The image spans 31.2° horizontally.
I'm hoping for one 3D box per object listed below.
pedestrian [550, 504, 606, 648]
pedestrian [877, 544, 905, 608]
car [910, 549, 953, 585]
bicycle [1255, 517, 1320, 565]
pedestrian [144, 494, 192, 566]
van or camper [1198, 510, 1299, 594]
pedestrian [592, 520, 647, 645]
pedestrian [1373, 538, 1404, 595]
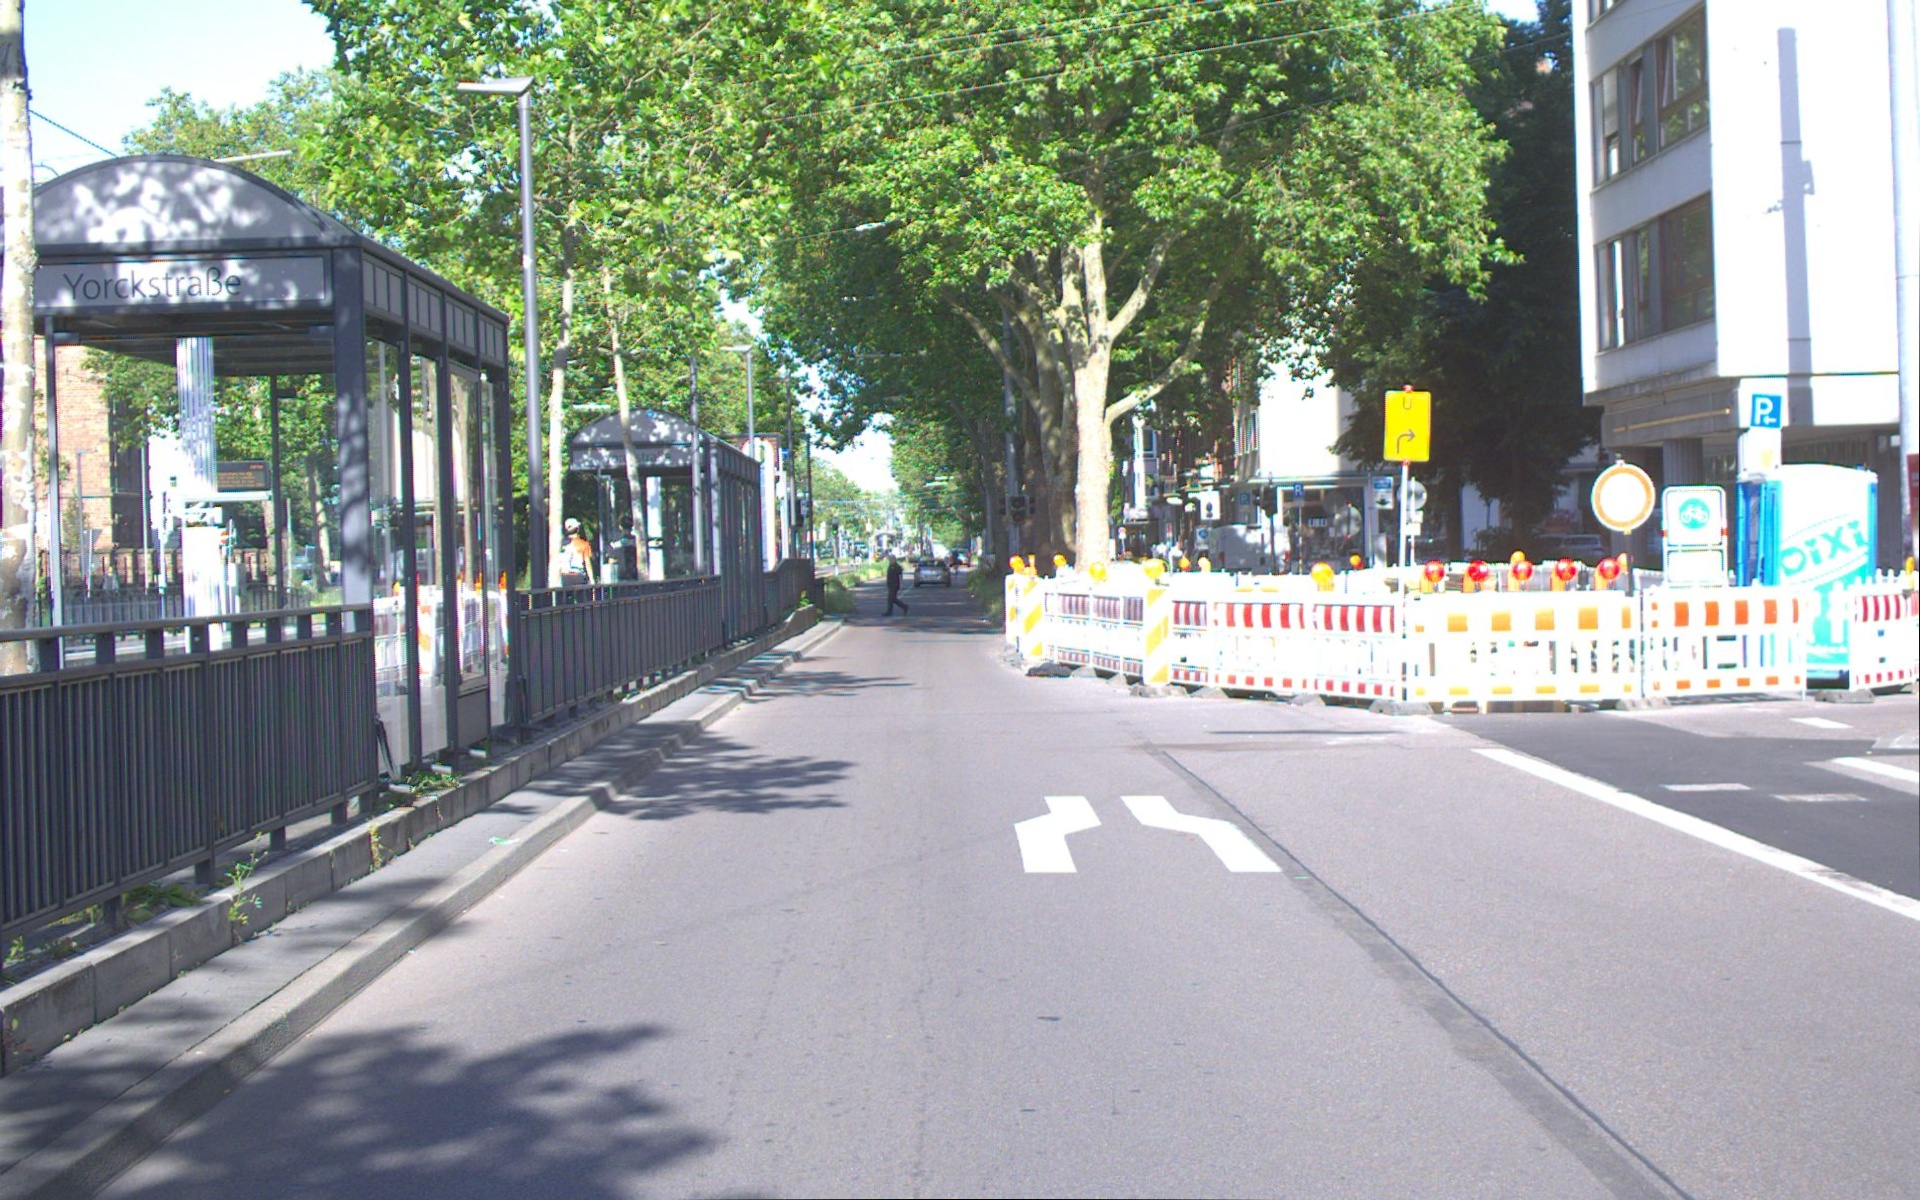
[{"bbox_3d":[-5.375,-0.338,48.366,0.667,2.007,0.716,-1,1,1],"label":"pedestrian"},{"bbox_3d":[-1.836,-0.643,91.327,0.712,1.674,0.772,-1,1,-2],"label":"pedestrian"},{"bbox_3d":[-1.394,-1.610,167.422,2.021,1.656,4.000,-1,1,-1],"label":"car"},{"bbox_3d":[8.952,-1.619,94.024,1.603,1.259,0.963,-2,1,-5],"label":"bicycle"},{"bbox_3d":[-19.377,-1.719,84.114,0.953,1.730,0.730,-1,1,2],"label":"pedestrian"},{"bbox_3d":[8.159,-1.356,97.804,2.291,2.279,5.823,-1,1,-1],"label":"van or camper"},{"bbox_3d":[-4.922,-0.257,49.693,0.682,1.778,0.754,-1,1,1],"label":"pedestrian"},{"bbox_3d":[12.446,-0.974,99.907,0.732,1.611,1.035,-1,1,0],"label":"pedestrian"}]
